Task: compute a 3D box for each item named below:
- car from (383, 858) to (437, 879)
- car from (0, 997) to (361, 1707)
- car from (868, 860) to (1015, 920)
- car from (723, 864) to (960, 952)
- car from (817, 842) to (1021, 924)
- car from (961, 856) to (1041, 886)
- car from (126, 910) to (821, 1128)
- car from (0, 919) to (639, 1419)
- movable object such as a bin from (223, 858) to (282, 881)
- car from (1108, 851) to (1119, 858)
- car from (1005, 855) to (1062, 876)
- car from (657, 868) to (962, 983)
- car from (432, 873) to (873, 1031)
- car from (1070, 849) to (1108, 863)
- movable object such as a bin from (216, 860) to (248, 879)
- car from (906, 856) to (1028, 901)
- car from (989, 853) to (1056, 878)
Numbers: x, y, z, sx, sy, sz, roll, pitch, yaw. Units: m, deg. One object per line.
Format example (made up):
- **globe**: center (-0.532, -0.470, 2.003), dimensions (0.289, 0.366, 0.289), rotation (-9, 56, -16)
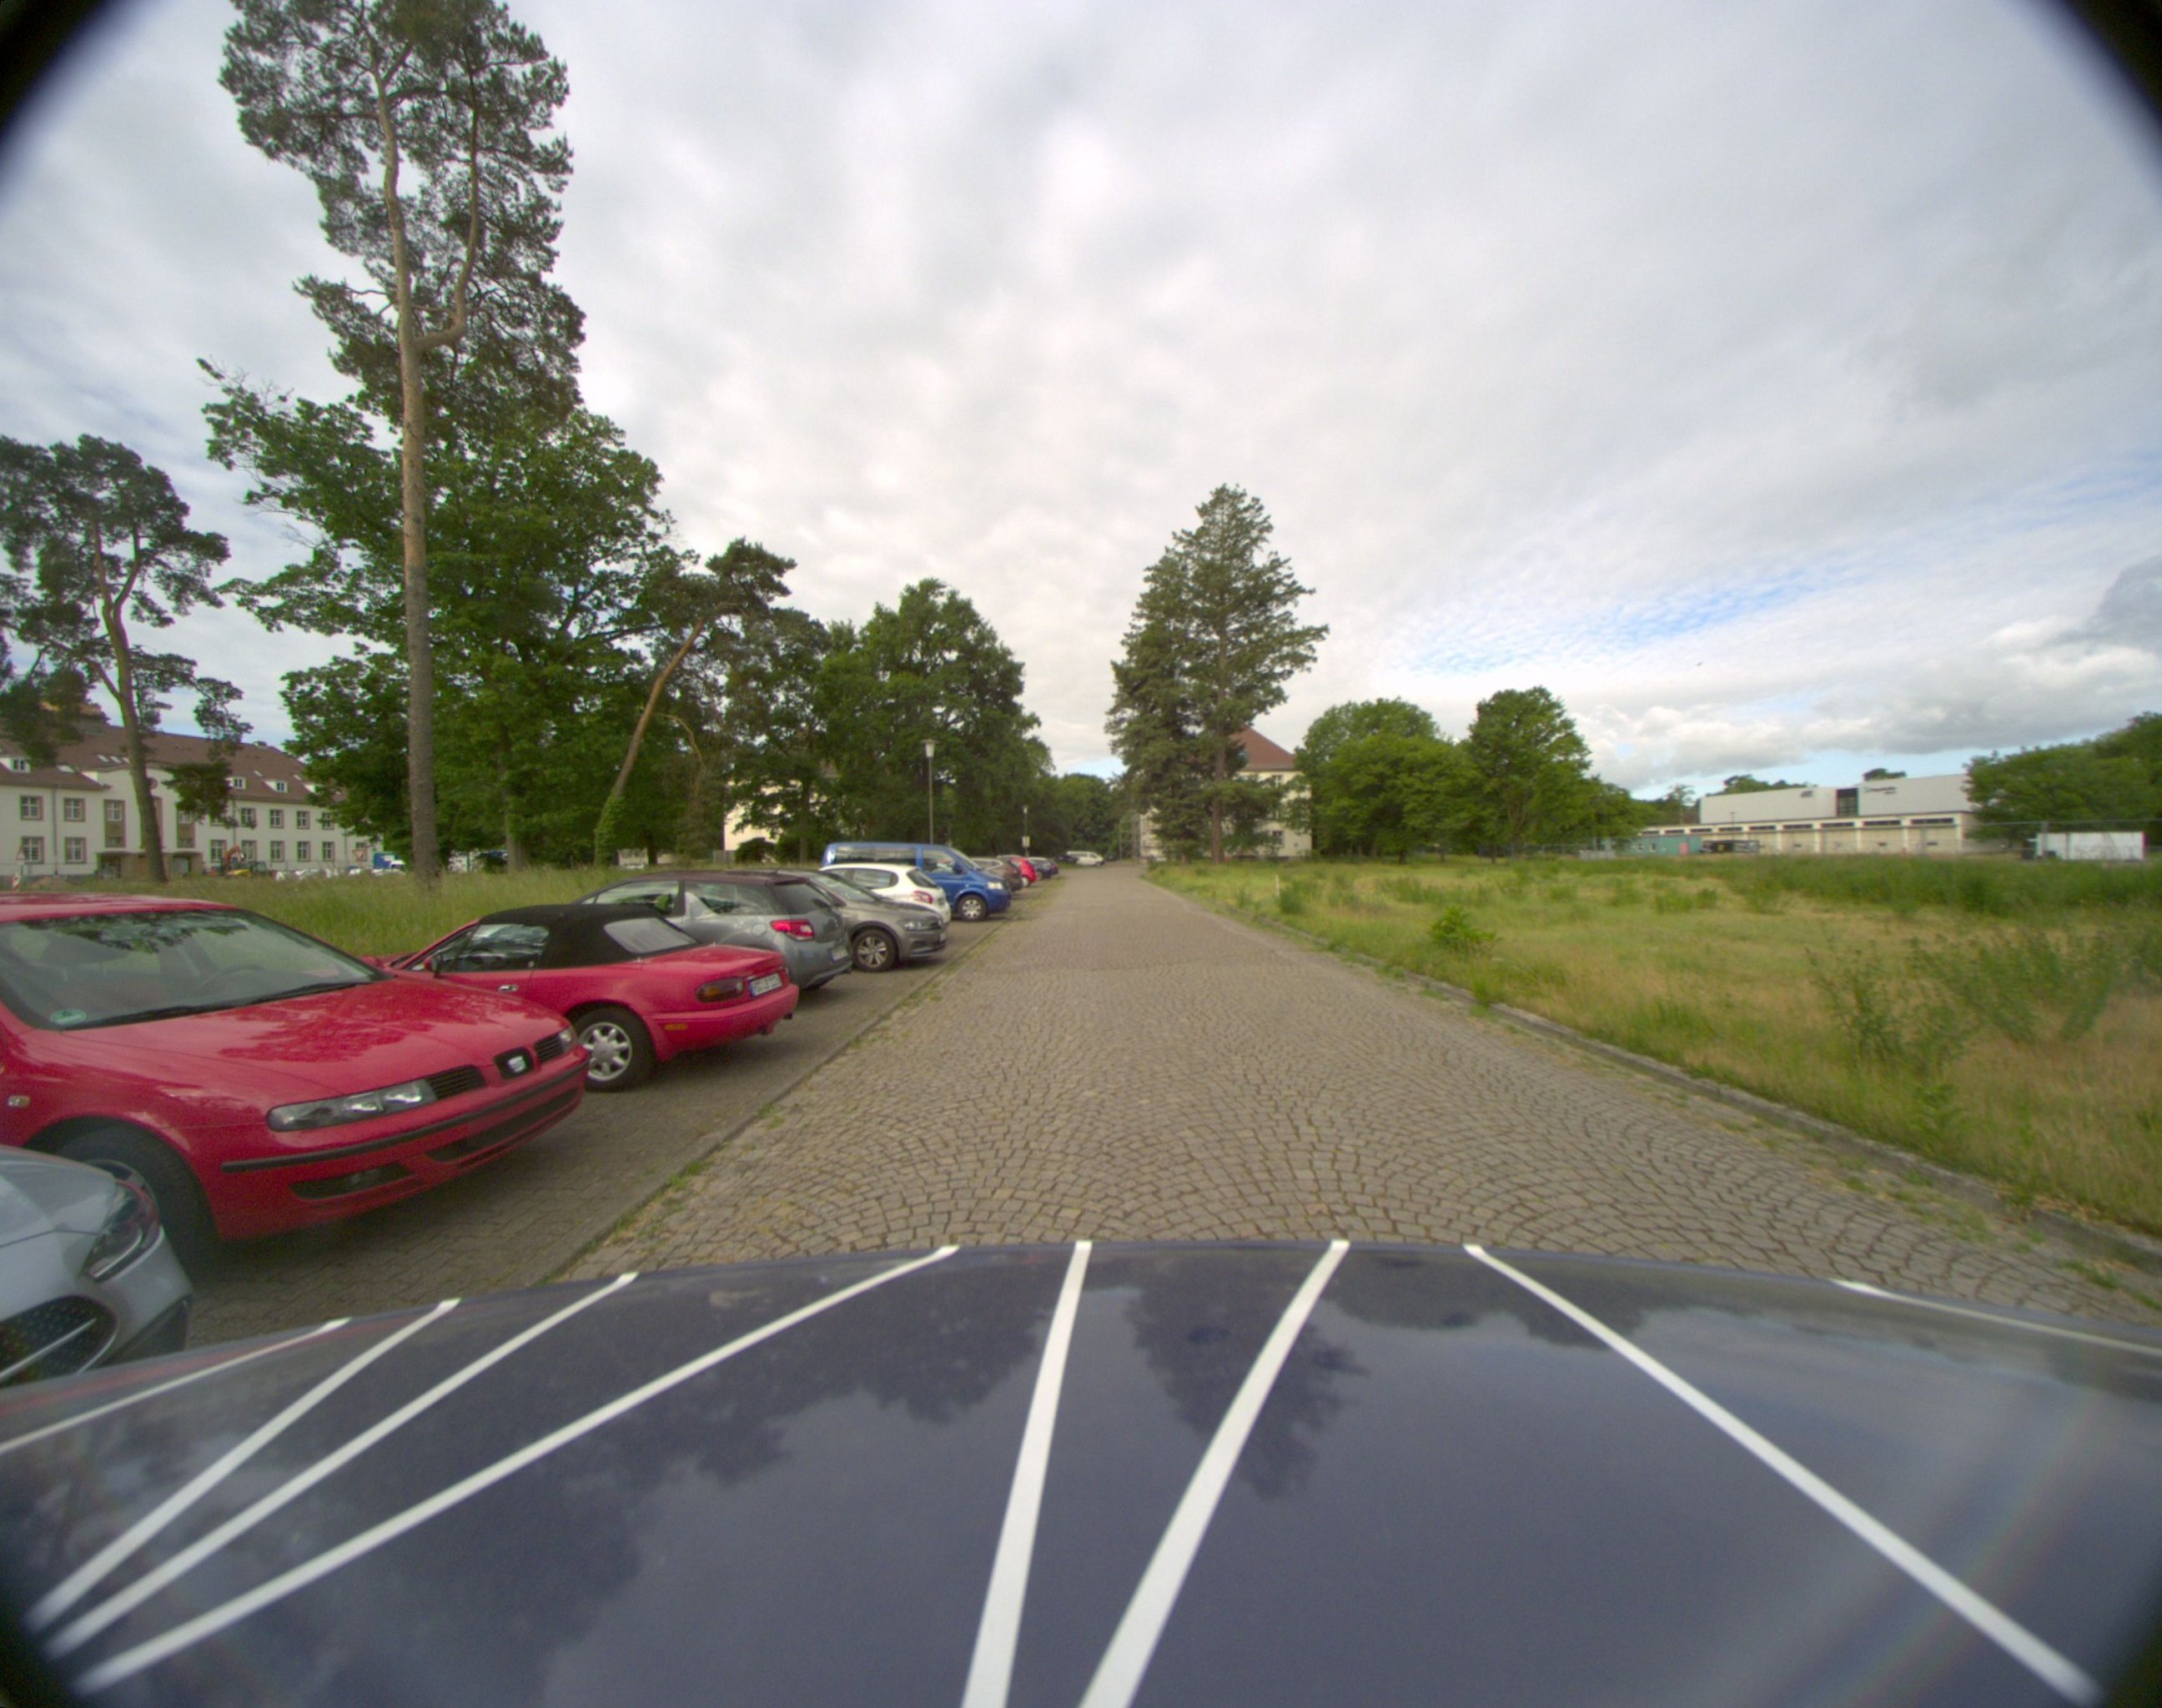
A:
- **car**: center (-67.088, 1.406, 76.075), dimensions (1.999, 2.002, 3.998), rotation (-1, 0, -4)
- **car**: center (-4.332, 1.106, 1.243), dimensions (4.434, 1.408, 1.870), rotation (1, 0, -2)
- **car**: center (-3.980, 1.008, 22.179), dimensions (3.872, 1.463, 1.841), rotation (3, 0, -1)
- **car**: center (-4.381, 0.963, 14.311), dimensions (3.871, 1.463, 1.758), rotation (1, 0, 2)
- **car**: center (-4.043, 0.720, 19.613), dimensions (4.820, 1.934, 2.003), rotation (1, 0, 0)
- **car**: center (-4.032, 0.865, 38.730), dimensions (3.894, 1.451, 1.582), rotation (1, 0, 0)
- **car**: center (-4.235, 1.139, 5.804), dimensions (3.872, 1.229, 1.758), rotation (1, 0, 0)
- **car**: center (-4.682, 1.108, 3.430), dimensions (4.272, 1.408, 1.871), rotation (1, 0, 0)
- **movable object such as a bin**: center (-75.307, 1.408, 69.115), dimensions (1.679, 2.002, 3.245), rotation (-1, 0, 8)
- **car**: center (7.213, 0.140, 169.262), dimensions (1.870, 1.408, 4.694), rotation (1, 0, -3)
- **car**: center (-3.310, 0.823, 53.624), dimensions (3.878, 1.417, 1.582), rotation (1, 0, 0)
- **car**: center (-3.864, 0.998, 11.286), dimensions (3.872, 1.463, 1.758), rotation (1, 0, 1)
- **car**: center (-4.497, 0.997, 8.432), dimensions (3.872, 1.463, 1.758), rotation (1, 0, 0)
- **car**: center (1.090, 0.254, 102.373), dimensions (5.141, 1.860, 1.723), rotation (1, 1, -1)
- **movable object such as a bin**: center (-88.880, 1.607, 79.514), dimensions (2.977, 2.002, 1.557), rotation (-1, 1, 28)
- **car**: center (-4.190, 0.899, 28.454), dimensions (4.271, 1.589, 1.822), rotation (1, 0, 0)
- **car**: center (-3.729, 0.747, 48.968), dimensions (4.150, 1.529, 1.582), rotation (1, 0, 0)
